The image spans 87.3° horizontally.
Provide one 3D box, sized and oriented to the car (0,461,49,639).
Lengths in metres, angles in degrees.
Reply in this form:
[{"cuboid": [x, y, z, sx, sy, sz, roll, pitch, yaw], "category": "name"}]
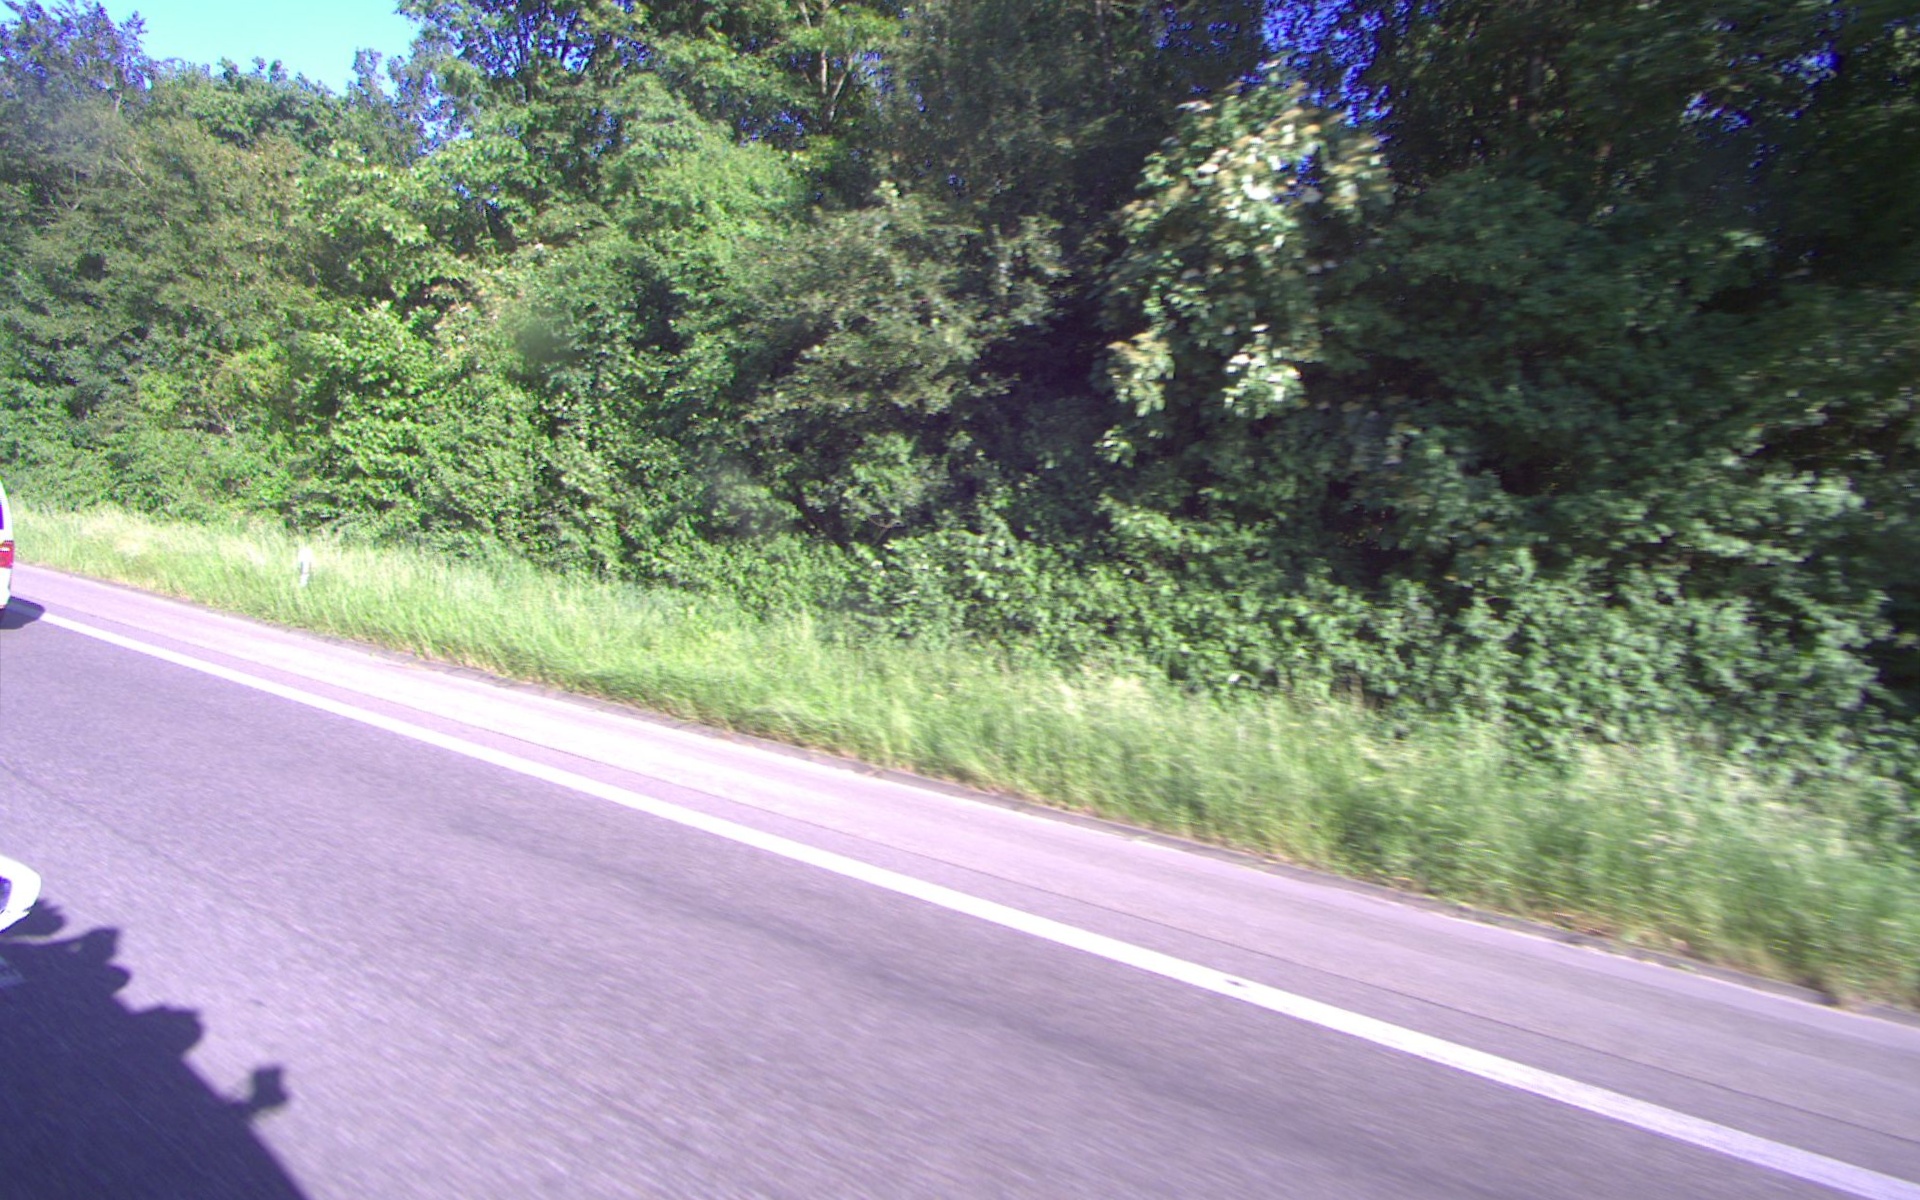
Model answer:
[{"cuboid": [-12.208, -0.787, 11.160, 4.512, 1.834, 1.802, 6, -2, 32], "category": "car"}]
